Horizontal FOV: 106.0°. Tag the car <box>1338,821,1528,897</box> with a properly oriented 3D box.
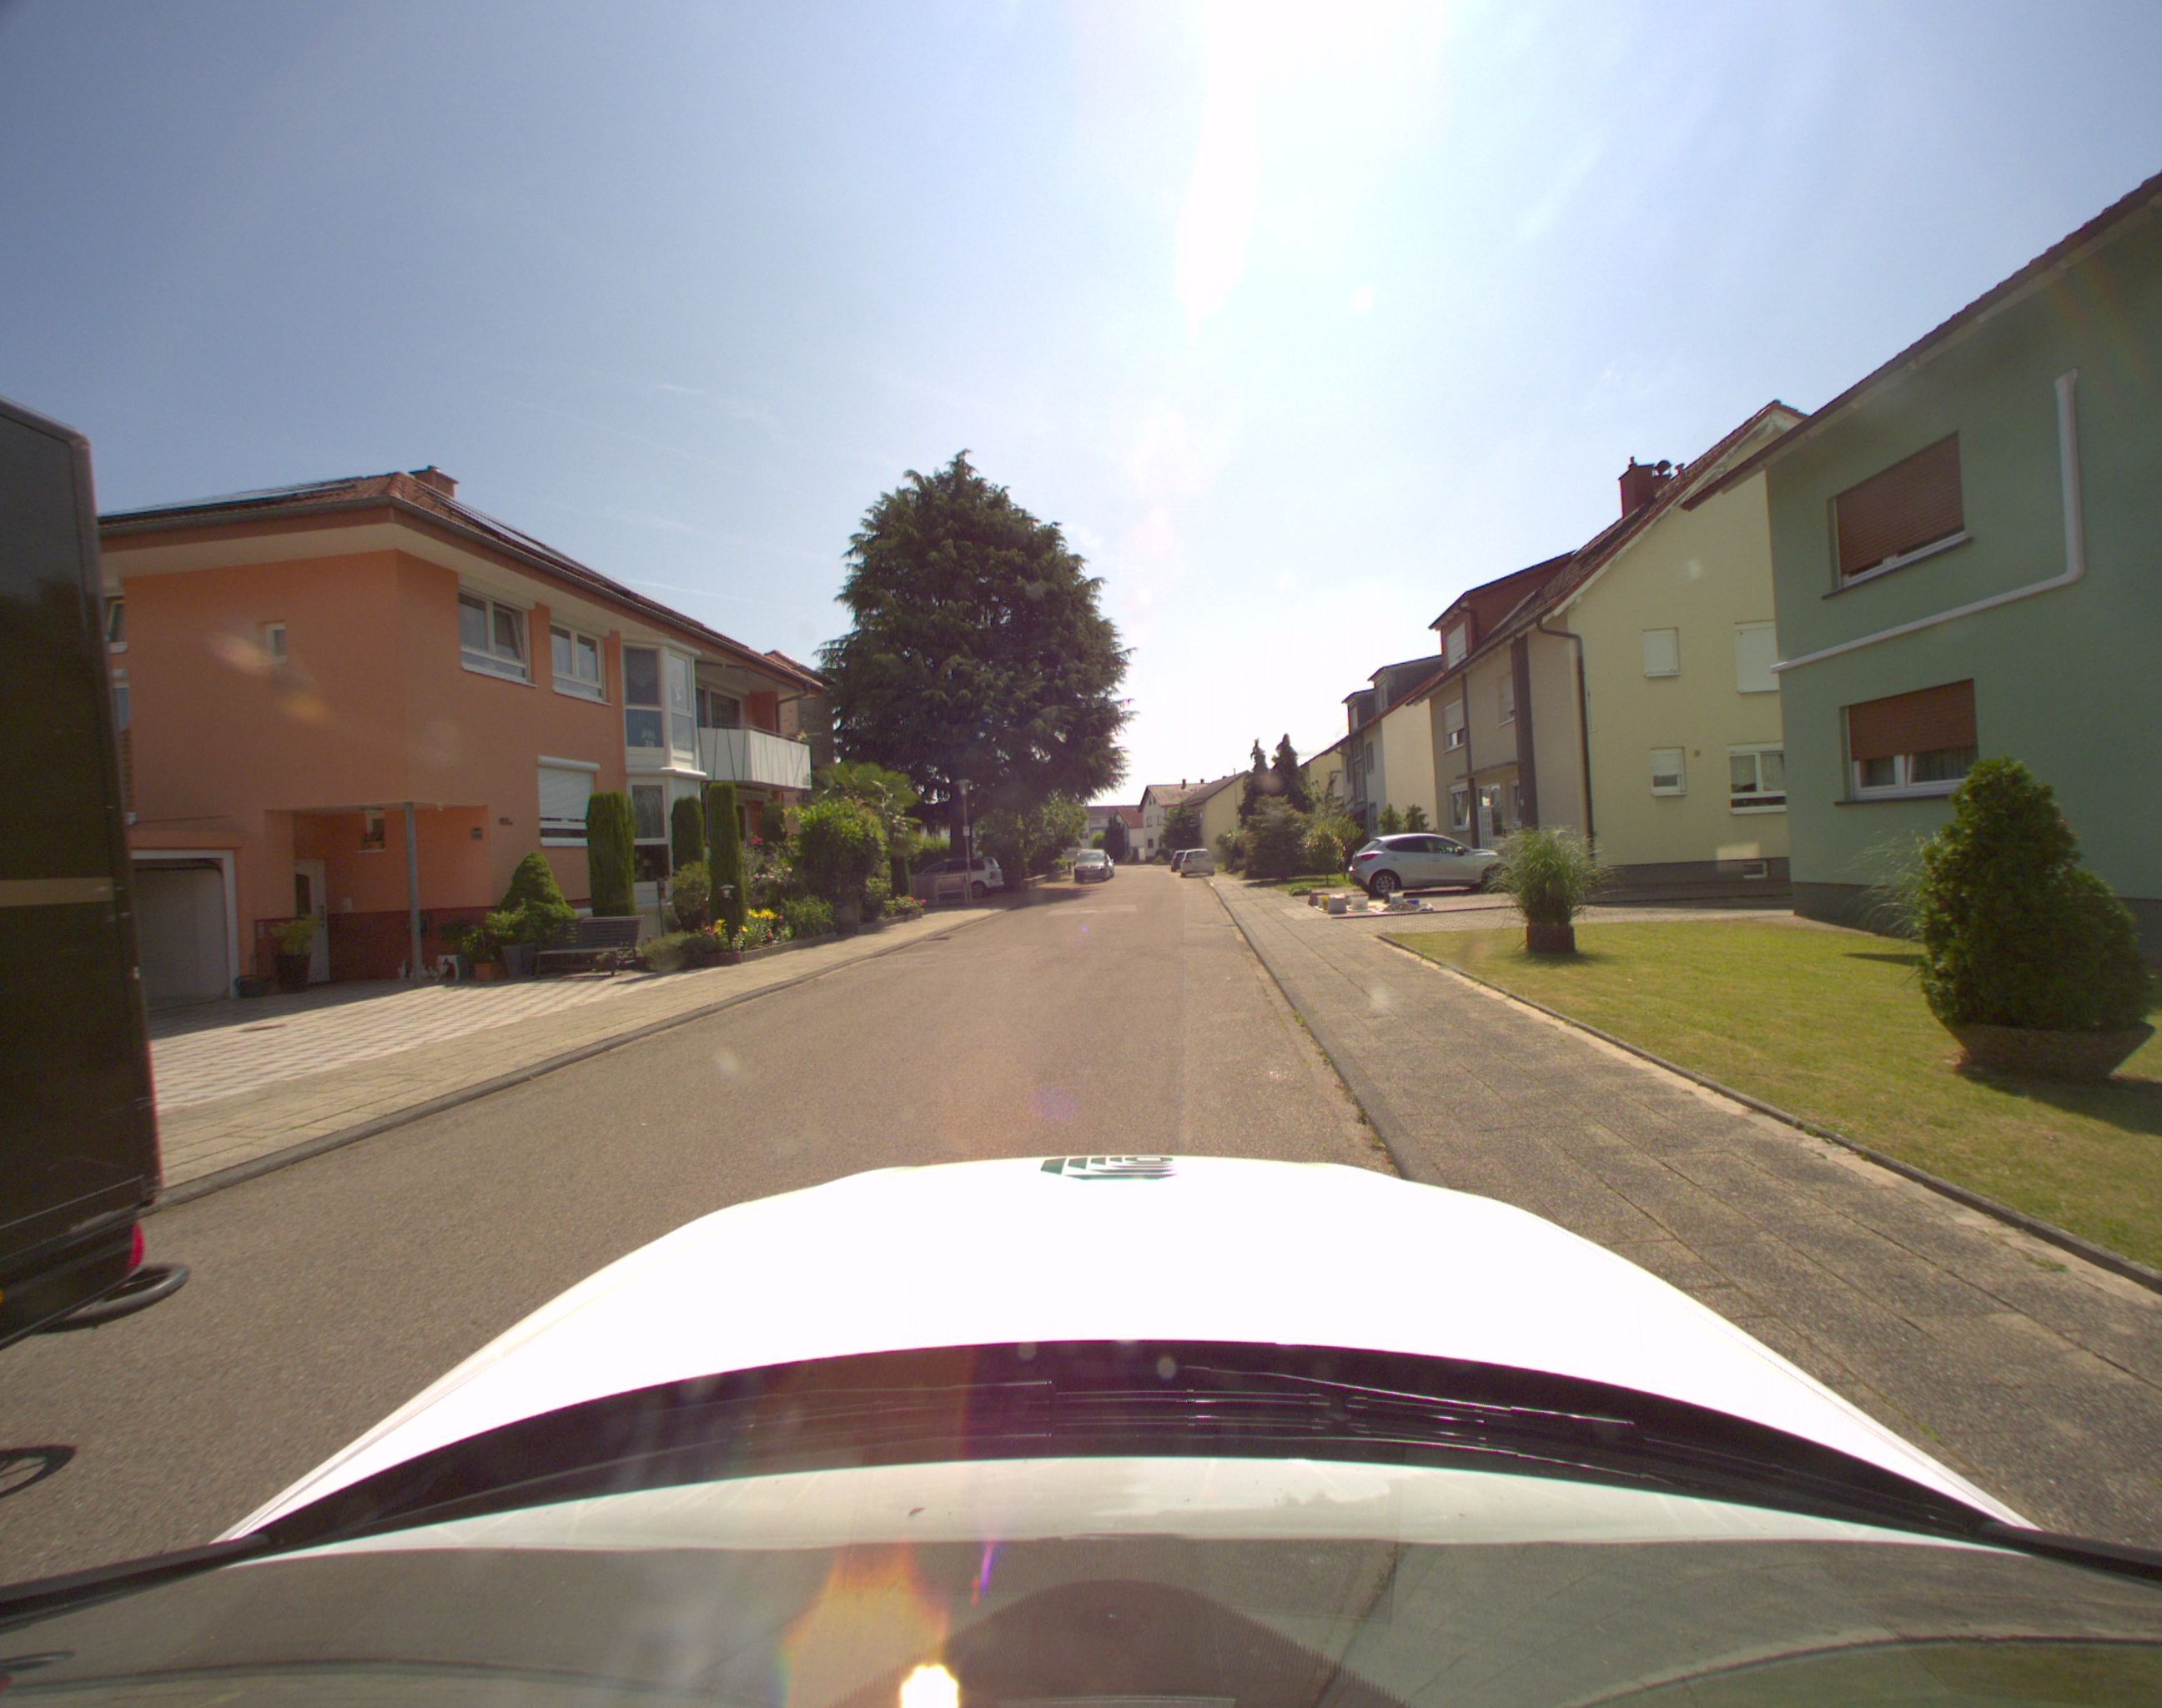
[{"bbox_3d":[8.545,0.121,20.057,3.892,1.510,1.778,-4,0,7],"label":"car"}]

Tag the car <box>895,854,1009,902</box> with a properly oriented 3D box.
[{"bbox_3d":[-5.273,0.970,33.600,4.167,1.653,1.819,-3,0,9],"label":"car"}]

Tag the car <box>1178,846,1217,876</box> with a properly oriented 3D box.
[{"bbox_3d":[6.403,0.358,45.194,1.800,1.495,4.005,-3,0,4],"label":"car"}]

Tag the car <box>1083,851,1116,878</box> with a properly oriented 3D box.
[{"bbox_3d":[1.202,0.635,51.495,1.800,1.495,4.005,-3,0,4],"label":"car"}]

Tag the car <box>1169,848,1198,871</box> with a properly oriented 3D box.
[{"bbox_3d":[7.242,0.383,57.938,1.800,1.495,4.005,-3,0,4],"label":"car"}]

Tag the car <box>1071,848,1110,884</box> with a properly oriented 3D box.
[{"bbox_3d":[0.567,0.626,45.320,1.800,1.762,4.212,-3,0,4],"label":"car"}]
